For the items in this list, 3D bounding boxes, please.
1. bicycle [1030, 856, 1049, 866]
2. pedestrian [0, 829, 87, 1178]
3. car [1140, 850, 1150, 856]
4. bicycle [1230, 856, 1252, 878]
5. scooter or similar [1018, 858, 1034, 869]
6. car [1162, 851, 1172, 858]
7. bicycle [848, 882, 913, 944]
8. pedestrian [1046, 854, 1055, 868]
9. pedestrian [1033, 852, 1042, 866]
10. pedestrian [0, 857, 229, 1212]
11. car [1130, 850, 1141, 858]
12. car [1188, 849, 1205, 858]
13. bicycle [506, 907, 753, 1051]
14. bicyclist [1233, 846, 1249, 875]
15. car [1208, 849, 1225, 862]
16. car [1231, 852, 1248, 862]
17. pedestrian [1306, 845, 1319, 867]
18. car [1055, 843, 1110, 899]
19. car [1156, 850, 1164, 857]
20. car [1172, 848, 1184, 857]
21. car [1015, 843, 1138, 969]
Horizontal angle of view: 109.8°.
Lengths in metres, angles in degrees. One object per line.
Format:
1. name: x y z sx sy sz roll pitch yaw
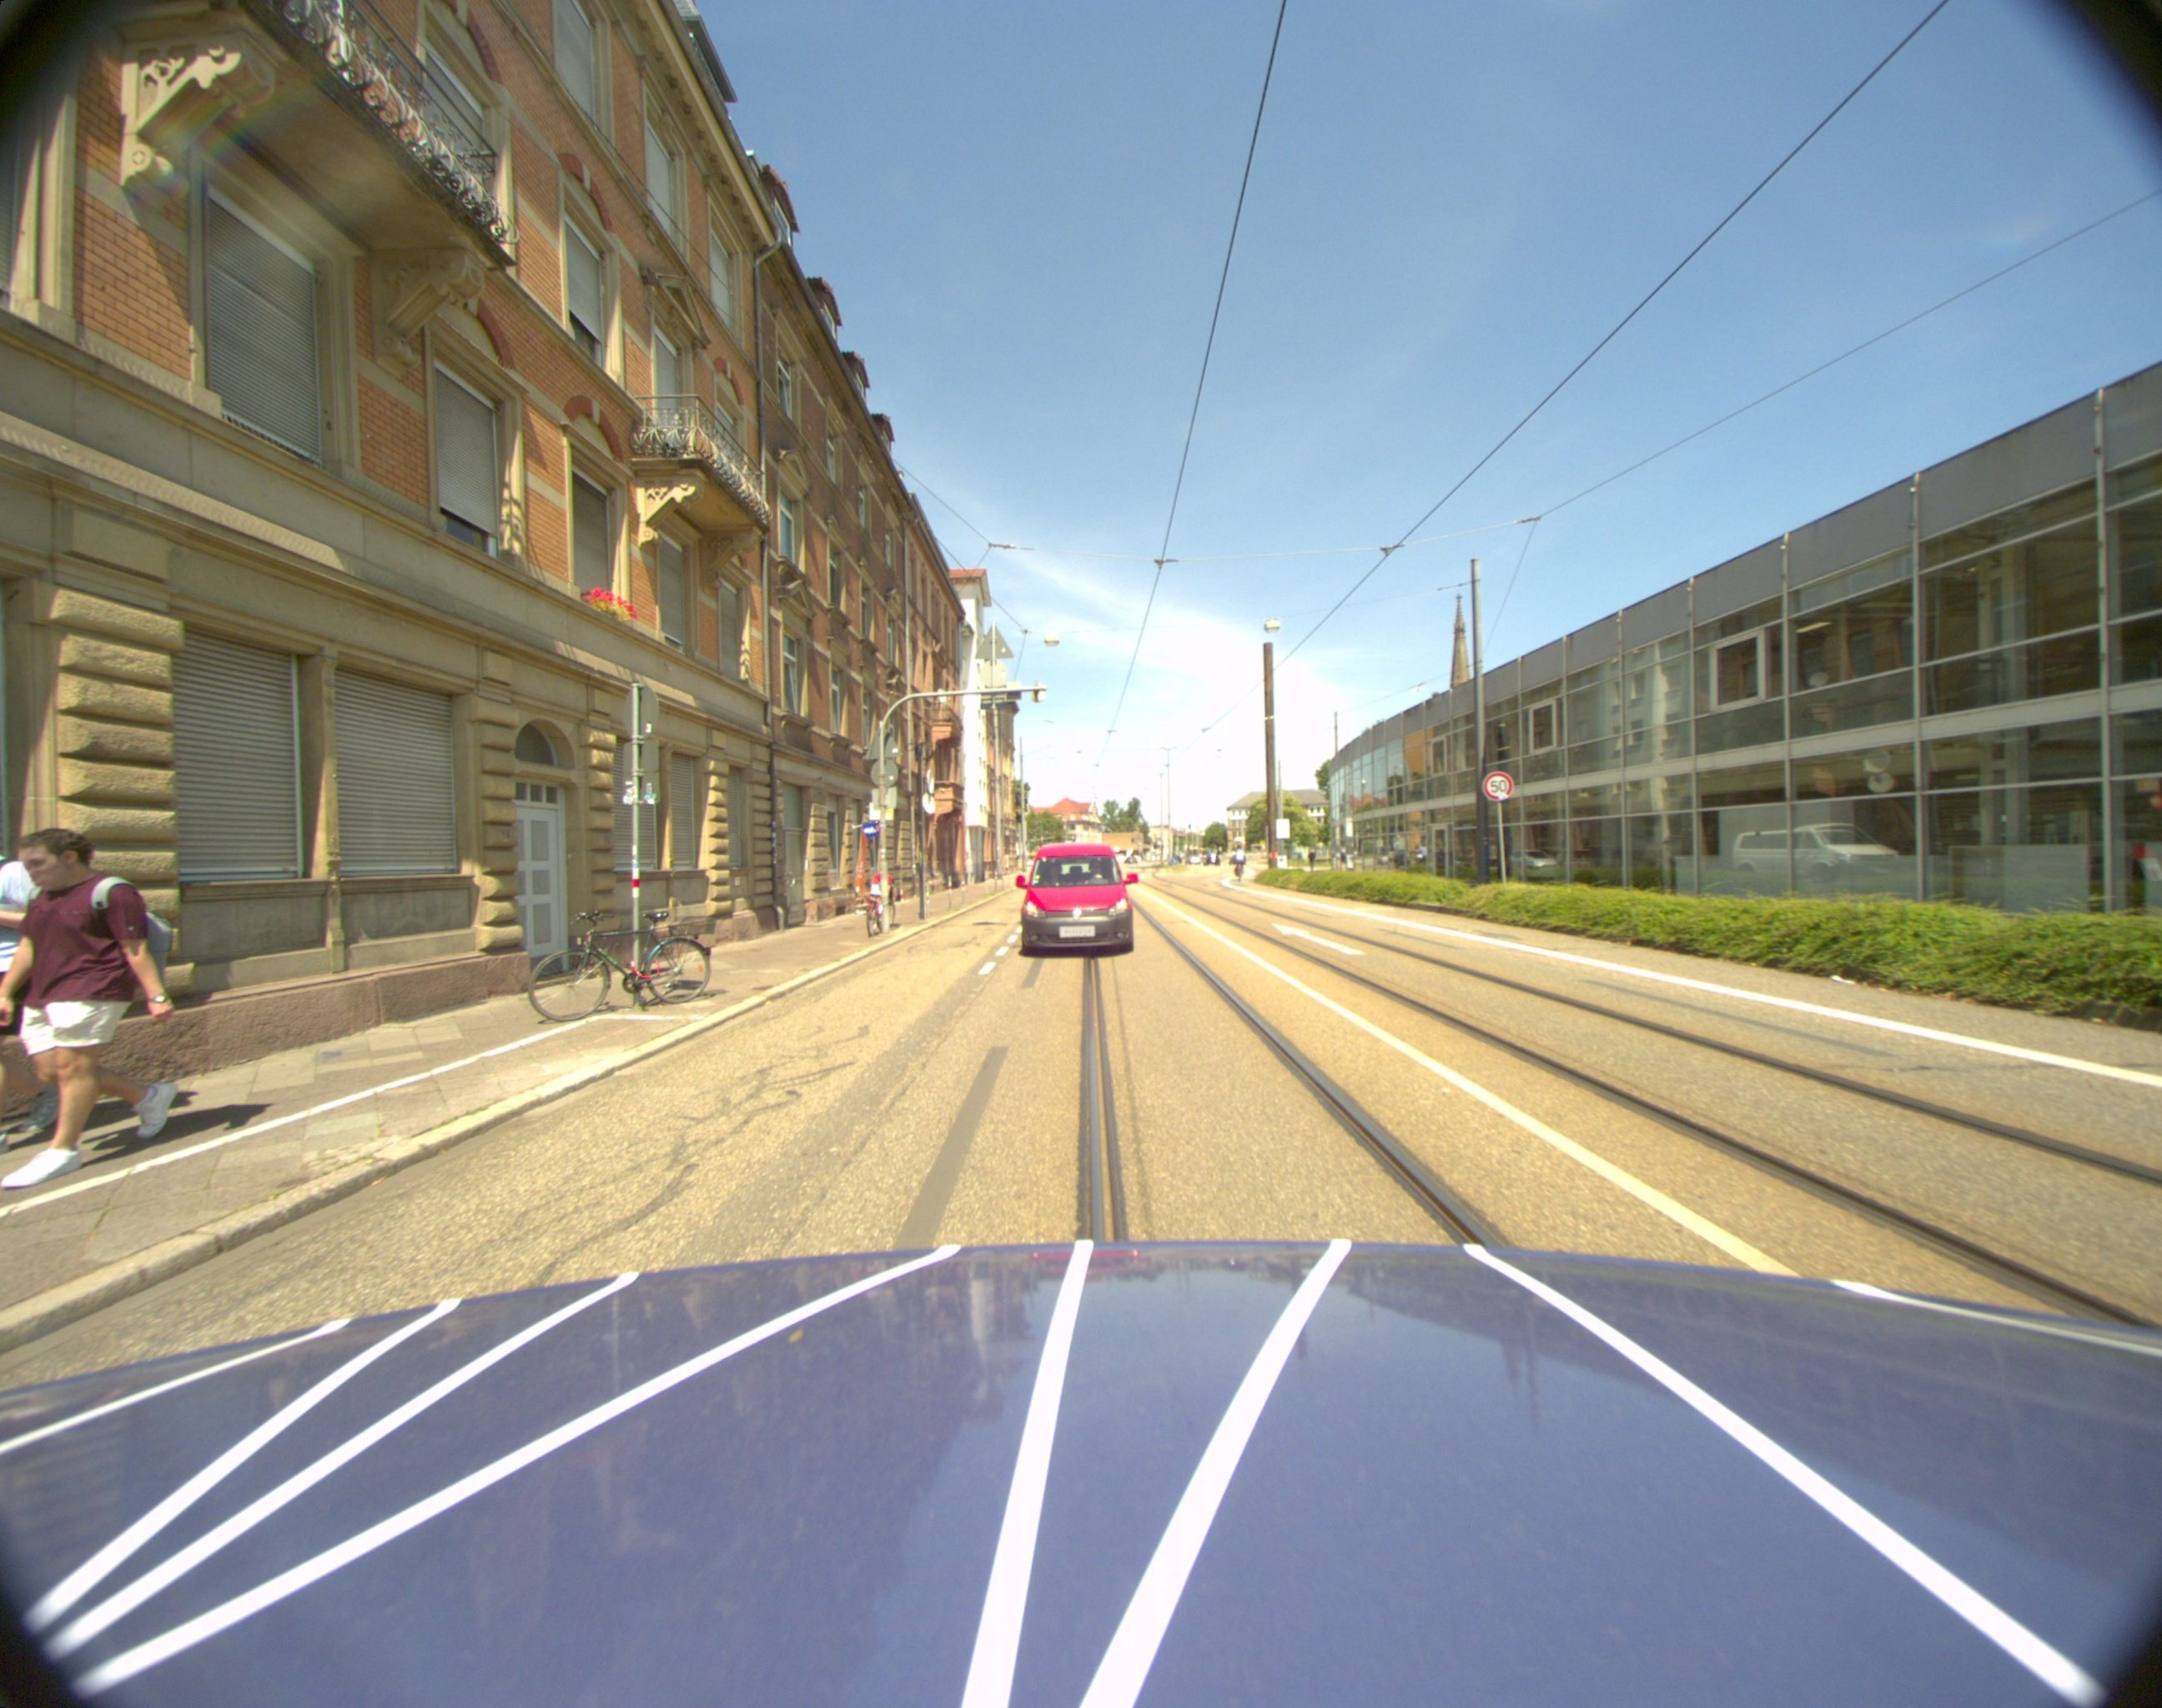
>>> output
1. bicycle: -5.301 0.920 97.910 2.225 1.243 1.096 -2 0 -43
2. pedestrian: -6.046 0.785 4.021 0.704 1.838 0.643 2 1 2
3. car: 13.693 -0.273 162.385 1.711 1.291 4.203 0 1 0
4. bicycle: 8.775 0.691 41.737 0.699 1.138 2.495 -1 0 0
5. scooter or similar: -5.986 1.059 82.551 1.527 1.149 0.713 -2 0 -28
6. car: 18.828 0.077 166.439 1.552 1.527 3.679 -2 0 0
7. bicycle: -4.121 1.185 15.810 0.448 1.090 2.424 -1 0 6
8. pedestrian: -4.116 0.931 102.398 0.808 1.769 0.876 -1 1 33
9. pedestrian: -5.583 0.607 97.582 0.826 1.765 0.812 -3 2 -43
10. pedestrian: -5.241 0.882 4.002 0.722 1.710 0.643 -1 1 2
11. car: 10.860 0.020 151.607 1.847 1.471 4.331 -1 0 2
12. car: 18.336 -0.100 121.113 1.998 1.521 5.131 0 1 1
13. bicycle: -4.572 1.199 7.936 0.499 1.124 2.247 -1 0 29
14. bicyclist: 8.773 0.361 41.665 0.699 1.539 0.980 -1 1 1
15. car: 18.157 0.164 101.834 1.826 1.617 4.526 0 0 4
16. car: 23.105 0.486 110.808 1.762 1.359 4.289 -2 0 2
17. pedestrian: 17.378 0.148 57.068 0.729 1.632 0.820 -1 1 4
18. car: 0.042 0.604 28.956 1.874 1.954 3.823 -2 0 -1
19. car: 20.175 -0.114 194.380 1.552 1.527 3.679 -2 0 0
20. car: 16.941 -0.255 132.719 1.675 1.453 3.903 -1 0 1
21. car: -0.059 0.754 13.228 1.755 1.802 4.097 -2 0 0
